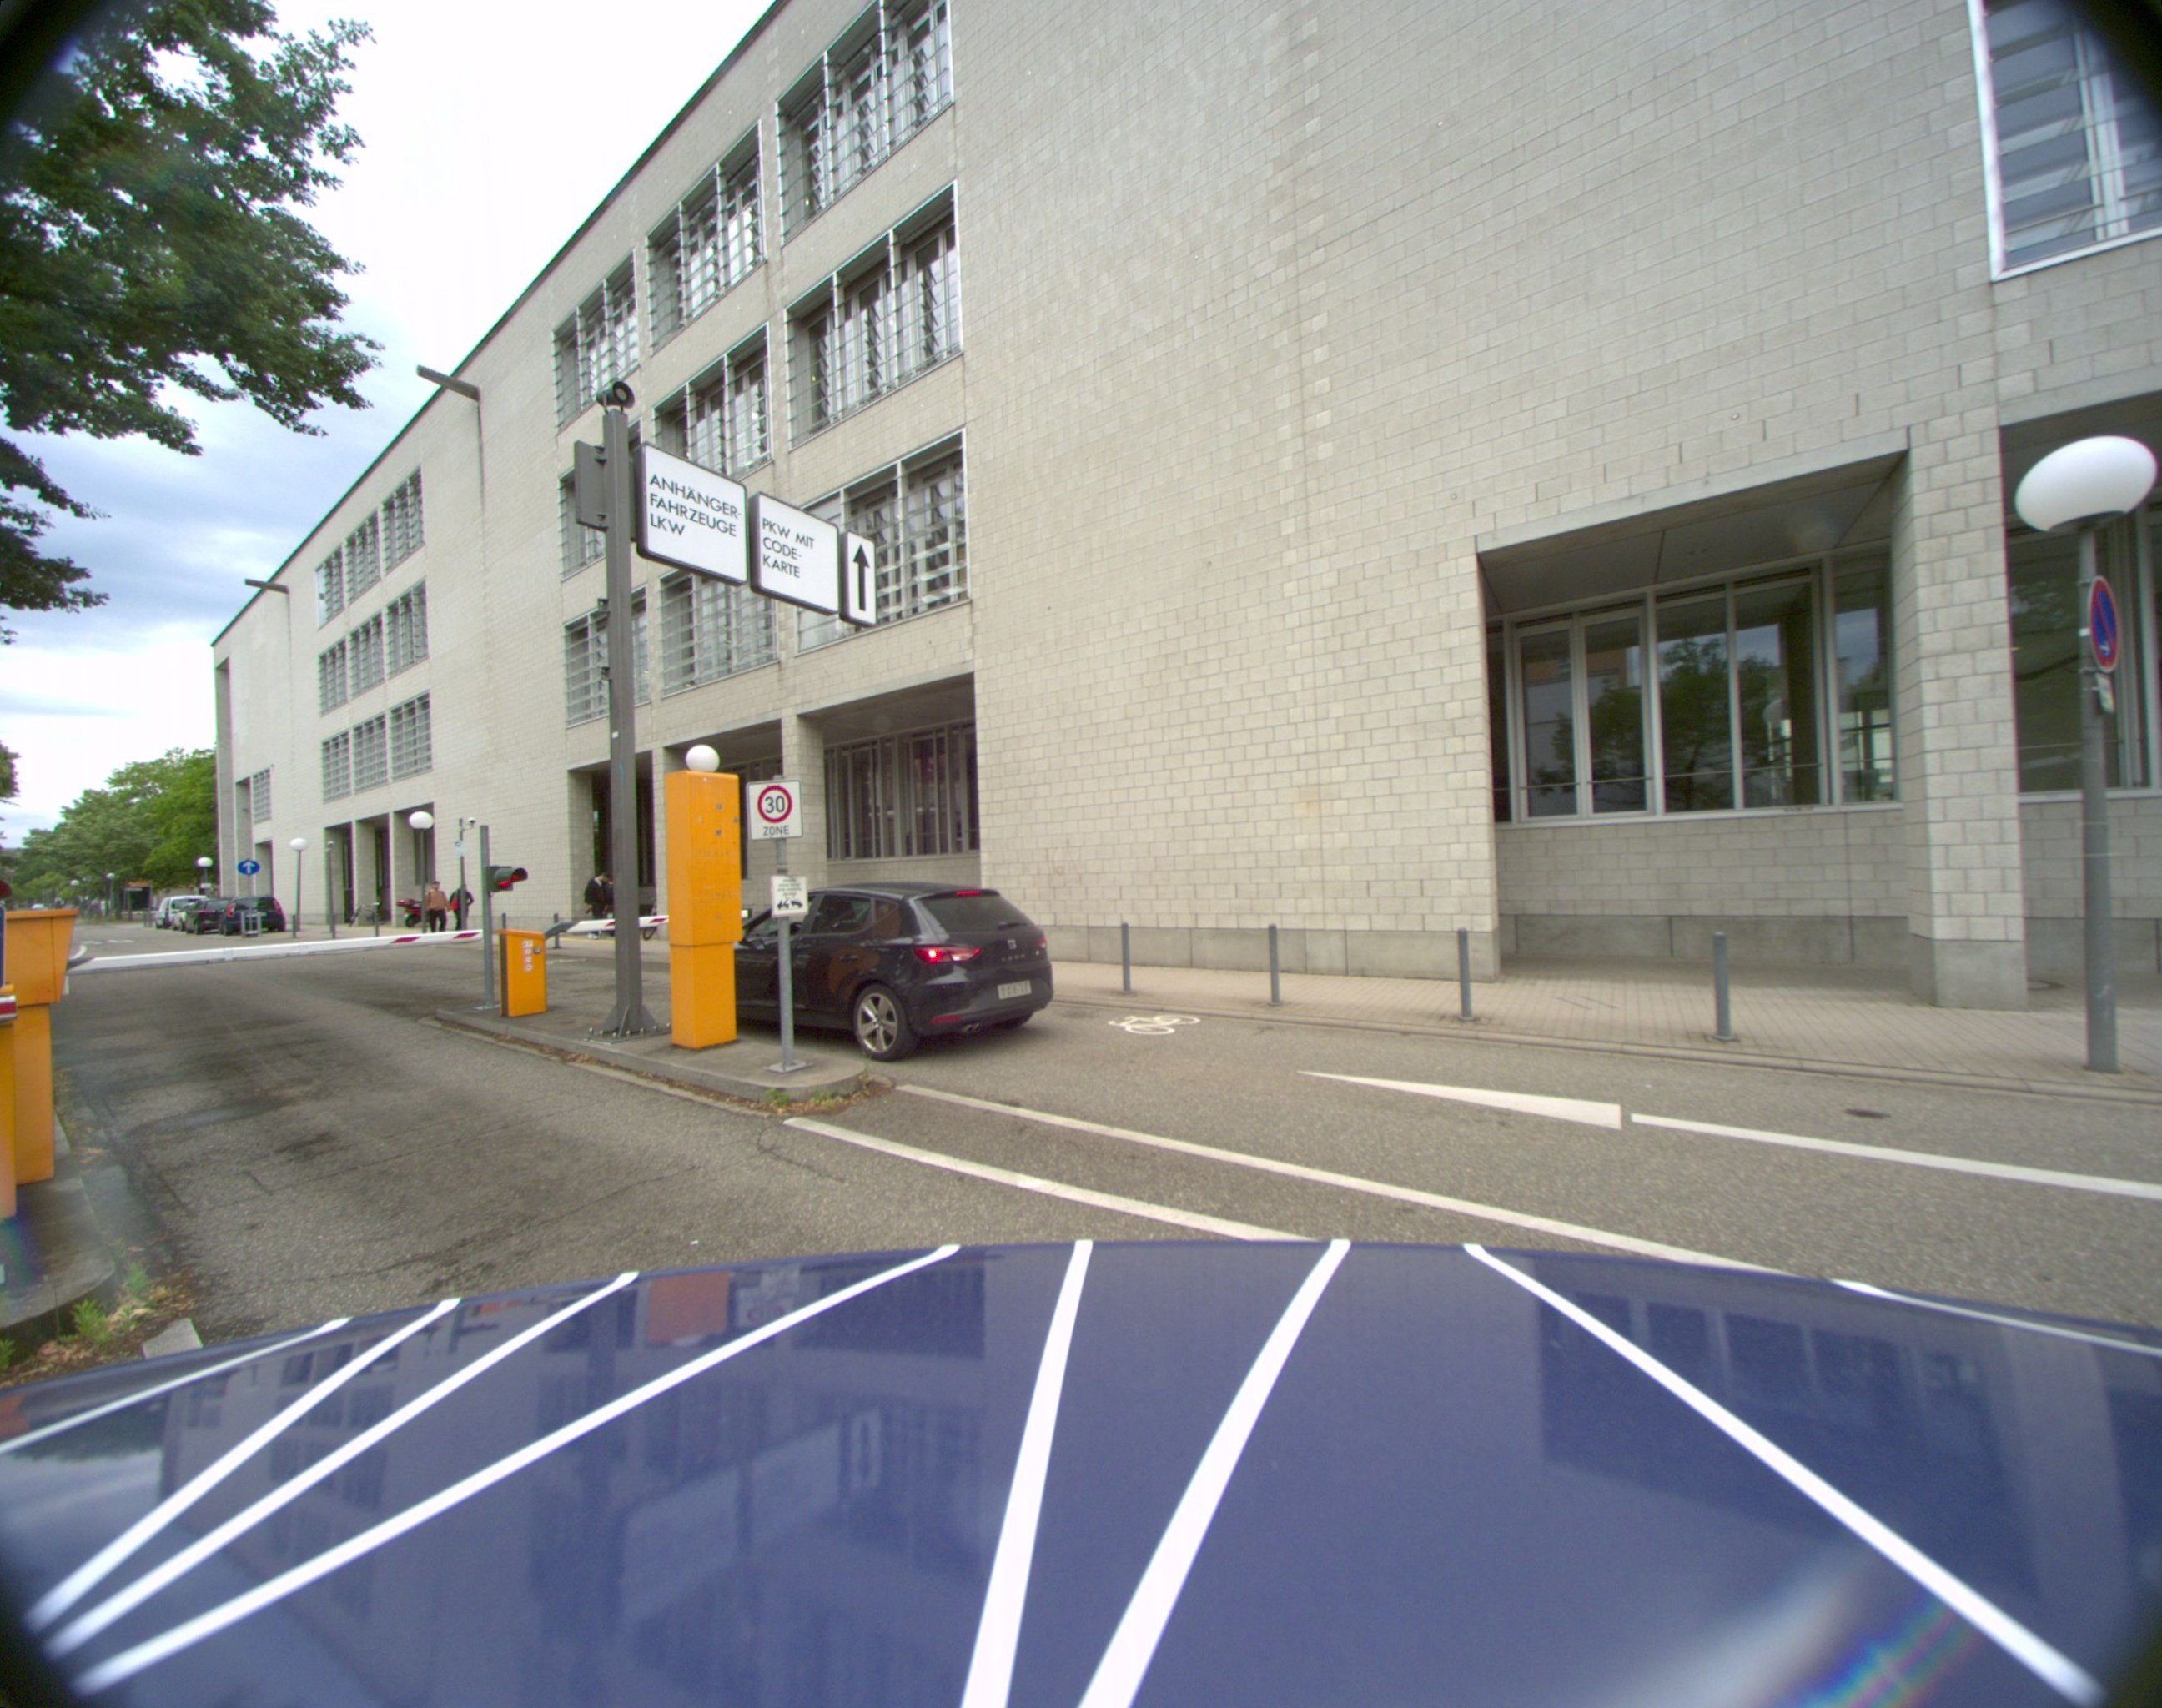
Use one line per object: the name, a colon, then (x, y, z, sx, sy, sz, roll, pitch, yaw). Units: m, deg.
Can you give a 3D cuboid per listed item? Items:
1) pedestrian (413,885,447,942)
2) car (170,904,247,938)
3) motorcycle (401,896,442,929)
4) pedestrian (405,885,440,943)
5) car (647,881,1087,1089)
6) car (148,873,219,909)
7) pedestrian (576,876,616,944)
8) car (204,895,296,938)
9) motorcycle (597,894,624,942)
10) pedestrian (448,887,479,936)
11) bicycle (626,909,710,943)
pedestrian: (-20.240, 1.830, 23.619, 0.488, 1.704, 0.700, -2, -1, 39)
car: (-44.491, 3.379, 38.724, 4.416, 1.455, 2.003, -3, 1, 34)
motorcycle: (-26.673, 2.324, 30.763, 0.763, 1.141, 2.656, 0, 0, -30)
pedestrian: (-19.997, 1.815, 23.085, 0.488, 1.704, 0.700, -2, -1, 38)
car: (-2.173, 1.024, 7.284, 4.118, 1.410, 1.792, -2, -1, 34)
car: (-49.714, 2.043, 42.057, 4.416, 1.772, 2.003, -2, 1, 34)
pedestrian: (-12.645, 1.441, 19.812, 0.573, 1.704, 0.614, -2, 1, 34)
car: (-35.991, 2.696, 32.895, 4.416, 1.613, 2.004, -3, 0, 34)
motorcycle: (-13.118, 1.749, 21.212, 0.568, 1.141, 2.211, 0, 0, -30)
pedestrian: (-19.892, 1.849, 24.485, 0.471, 1.518, 0.647, -2, -1, 37)
bicycle: (-10.532, 1.817, 19.457, 0.491, 0.695, 1.907, 0, 0, 32)
